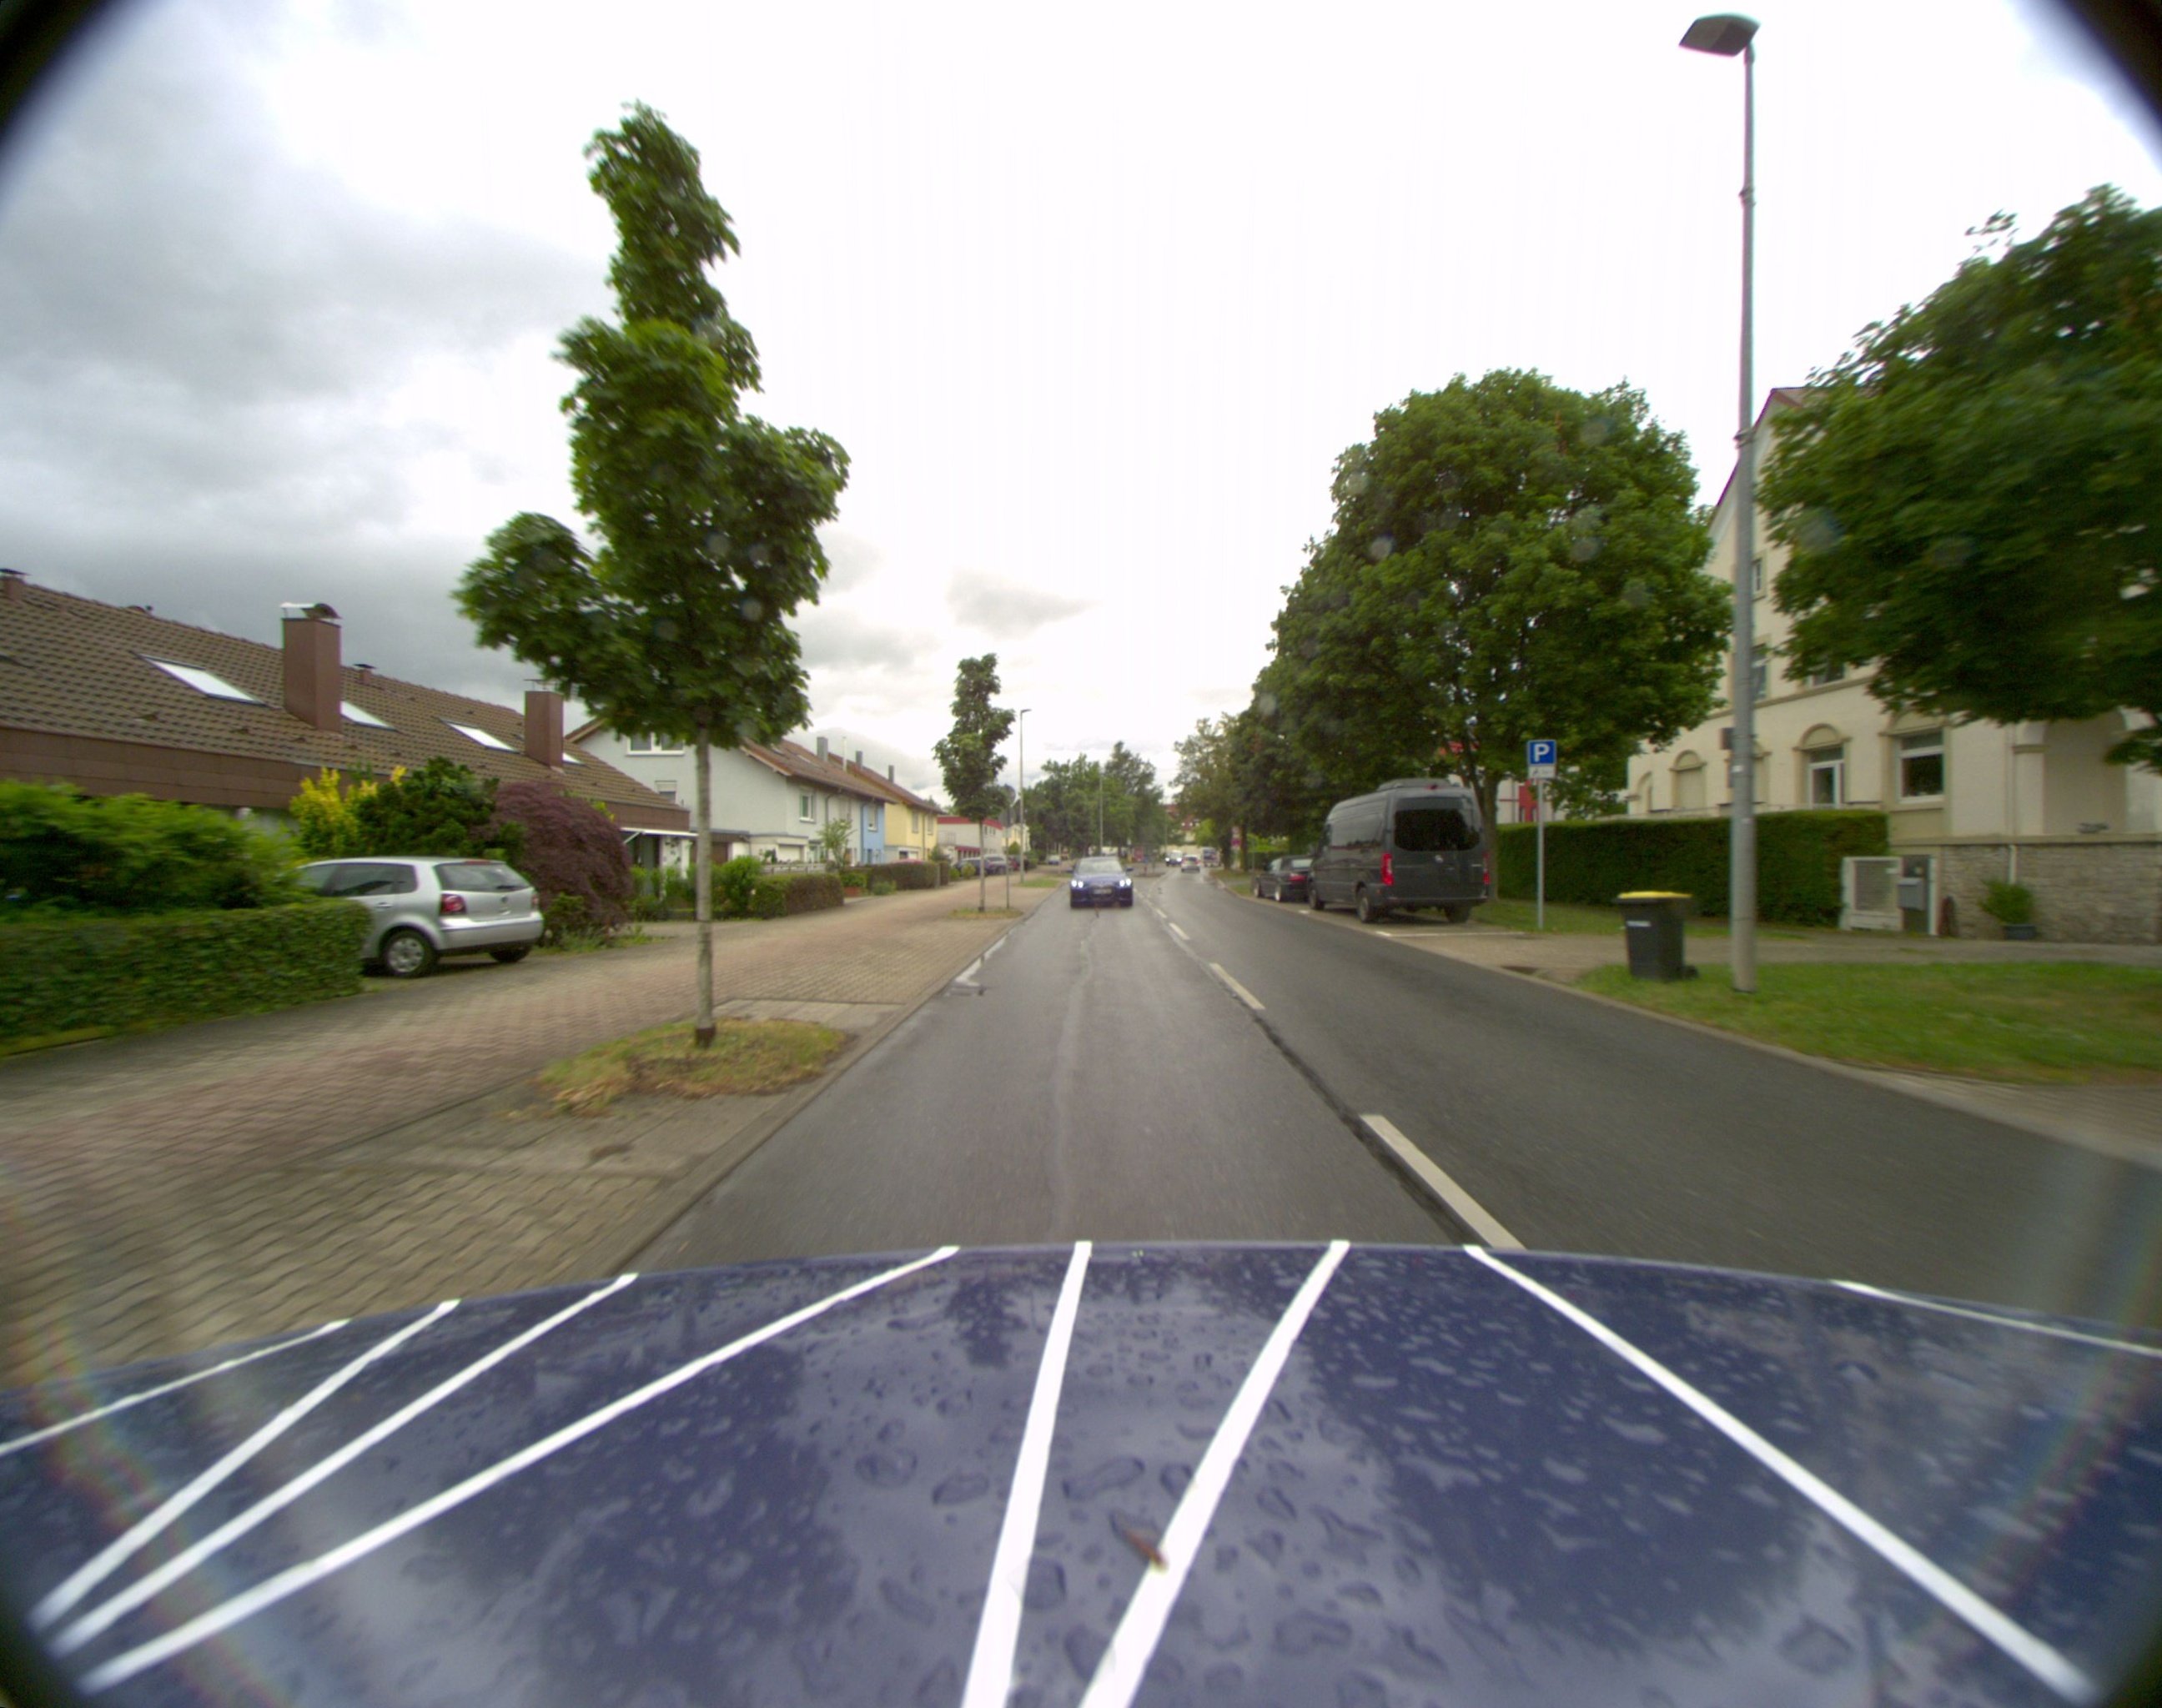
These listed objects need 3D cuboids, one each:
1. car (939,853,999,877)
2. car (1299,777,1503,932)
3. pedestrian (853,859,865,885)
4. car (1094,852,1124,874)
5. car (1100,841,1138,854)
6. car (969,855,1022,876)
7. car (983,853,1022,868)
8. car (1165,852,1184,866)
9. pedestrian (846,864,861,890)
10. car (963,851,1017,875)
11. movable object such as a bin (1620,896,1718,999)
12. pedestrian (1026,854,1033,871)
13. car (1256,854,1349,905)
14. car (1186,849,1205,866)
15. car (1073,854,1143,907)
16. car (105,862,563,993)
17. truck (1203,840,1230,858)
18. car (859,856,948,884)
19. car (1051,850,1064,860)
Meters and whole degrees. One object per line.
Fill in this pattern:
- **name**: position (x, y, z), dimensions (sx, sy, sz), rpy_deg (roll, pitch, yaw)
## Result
- **car**: position (-8.047, 0.836, 54.713), dimensions (3.998, 1.379, 1.675), rpy_deg (-5, -2, -3)
- **car**: position (6.555, 0.018, 16.519), dimensions (1.998, 2.712, 5.938), rpy_deg (-2, 0, 2)
- **pedestrian**: position (-11.876, 0.965, 40.625), dimensions (0.537, 1.343, 0.529), rpy_deg (-1, 1, -12)
- **car**: position (1.856, 0.578, 51.356), dimensions (1.840, 1.440, 4.000), rpy_deg (-1, 0, 0)
- **car**: position (6.163, -1.060, 122.342), dimensions (5.824, 2.002, 2.003), rpy_deg (0, 1, 25)
- **car**: position (-7.303, 0.976, 65.102), dimensions (4.189, 1.662, 1.992), rpy_deg (-1, 1, 2)
- **car**: position (-7.863, 0.598, 75.994), dimensions (3.701, 1.433, 1.707), rpy_deg (-1, 1, 0)
- **car**: position (10.810, 0.515, 87.742), dimensions (1.839, 1.541, 4.003), rpy_deg (-1, 0, 11)
- **pedestrian**: position (-11.985, 1.217, 40.010), dimensions (0.496, 1.343, 0.565), rpy_deg (0, 1, 24)
- **car**: position (-7.329, 0.702, 61.576), dimensions (4.192, 1.662, 1.721), rpy_deg (-3, 1, -6)
- **movable object such as a bin**: position (5.805, 0.911, 7.526), dimensions (0.559, 0.948, 0.550), rpy_deg (-1, 0, 5)
- **pedestrian**: position (-4.650, 0.788, 68.560), dimensions (0.666, 1.549, 0.842), rpy_deg (-1, 1, -4)
- **car**: position (6.552, 0.709, 22.900), dimensions (1.727, 1.400, 3.825), rpy_deg (0, 0, 1)
- **car**: position (10.253, 0.290, 67.983), dimensions (1.596, 1.455, 3.455), rpy_deg (-1, 0, 10)
- **car**: position (0.766, 0.790, 23.579), dimensions (1.913, 1.425, 4.301), rpy_deg (-2, -1, 0)
- **car**: position (-9.162, 0.854, 9.583), dimensions (3.996, 1.434, 1.847), rpy_deg (0, 1, 2)
- **truck**: position (16.435, -0.590, 91.694), dimensions (2.219, 2.191, 6.473), rpy_deg (0, 0, 19)
- **car**: position (-9.032, 0.789, 38.859), dimensions (4.318, 1.253, 1.677), rpy_deg (-2, 0, -12)
- **car**: position (-3.527, 0.159, 114.134), dimensions (1.691, 1.501, 3.827), rpy_deg (-1, 1, 3)
